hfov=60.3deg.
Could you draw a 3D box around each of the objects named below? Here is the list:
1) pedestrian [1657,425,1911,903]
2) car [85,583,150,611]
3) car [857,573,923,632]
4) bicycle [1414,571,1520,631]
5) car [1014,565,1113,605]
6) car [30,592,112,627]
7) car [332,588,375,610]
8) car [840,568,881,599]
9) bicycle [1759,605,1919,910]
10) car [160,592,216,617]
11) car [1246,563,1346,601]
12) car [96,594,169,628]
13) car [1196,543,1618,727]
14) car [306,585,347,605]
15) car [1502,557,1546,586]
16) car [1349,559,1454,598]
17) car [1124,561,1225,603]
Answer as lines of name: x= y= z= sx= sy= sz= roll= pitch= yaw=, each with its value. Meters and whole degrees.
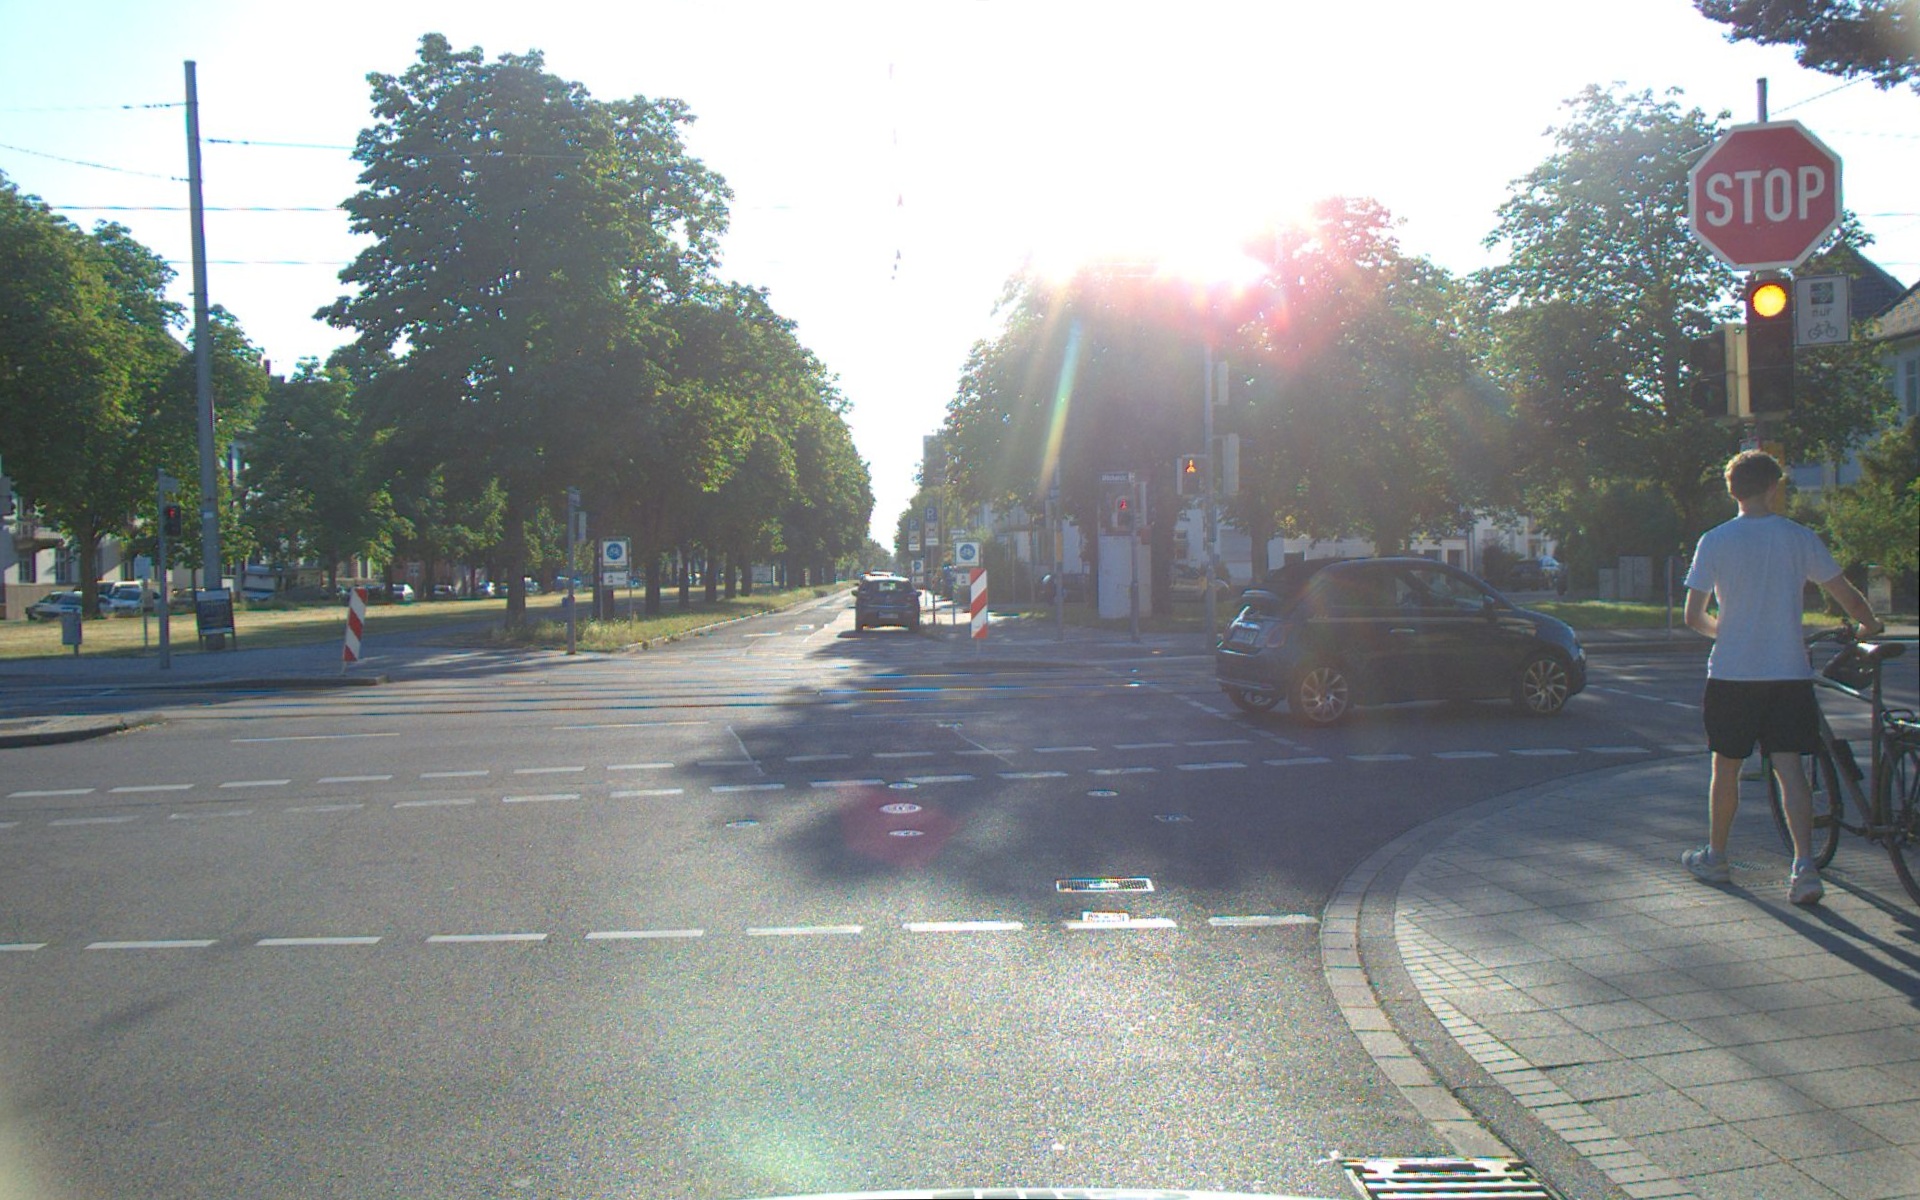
pedestrian: x=3.513 y=0.252 z=7.125 sx=0.656 sy=1.897 sz=0.883 roll=-4 pitch=1 yaw=11
car: x=-46.517 y=-0.197 z=91.374 sx=1.703 sy=1.452 sz=3.791 roll=-1 pitch=1 yaw=-2
car: x=-1.824 y=0.032 z=43.890 sx=1.607 sy=1.476 sz=3.307 roll=-1 pitch=1 yaw=0
bicycle: x=10.114 y=0.016 z=33.046 sx=1.914 sy=1.152 sz=0.620 roll=-1 pitch=1 yaw=0
car: x=4.060 y=-0.614 z=65.091 sx=3.704 sy=1.452 sz=1.743 roll=-1 pitch=2 yaw=-3
car: x=-40.035 y=0.391 z=74.600 sx=1.703 sy=1.452 sz=3.791 roll=-1 pitch=1 yaw=-2
car: x=-42.325 y=-0.109 z=115.455 sx=1.703 sy=1.452 sz=3.791 roll=-1 pitch=1 yaw=-2
car: x=-4.654 y=-0.811 z=77.949 sx=1.808 sy=1.418 sz=3.828 roll=0 pitch=1 yaw=-2
bicycle: x=3.970 y=0.619 z=6.889 sx=0.477 sy=1.116 sz=1.792 roll=-4 pitch=1 yaw=4
car: x=-47.420 y=0.274 z=101.635 sx=1.703 sy=1.452 sz=3.791 roll=-1 pitch=1 yaw=-2
car: x=13.277 y=-0.711 z=65.505 sx=3.593 sy=1.452 sz=1.529 roll=-1 pitch=1 yaw=-7
car: x=-40.321 y=0.534 z=80.645 sx=1.703 sy=1.451 sz=3.792 roll=-1 pitch=2 yaw=-2
car: x=4.215 y=0.277 z=15.756 sx=3.534 sy=1.523 sz=1.607 roll=-2 pitch=1 yaw=-14
car: x=-48.089 y=-0.388 z=125.561 sx=1.703 sy=1.452 sz=3.791 roll=-1 pitch=1 yaw=-2
car: x=28.797 y=-1.476 z=84.379 sx=1.631 sy=1.442 sz=3.539 roll=-1 pitch=1 yaw=27
car: x=17.684 y=-0.869 z=66.345 sx=3.772 sy=1.452 sz=1.595 roll=-1 pitch=1 yaw=-7
car: x=8.473 y=-0.707 z=65.485 sx=3.704 sy=1.552 sz=1.743 roll=-1 pitch=2 yaw=-3
